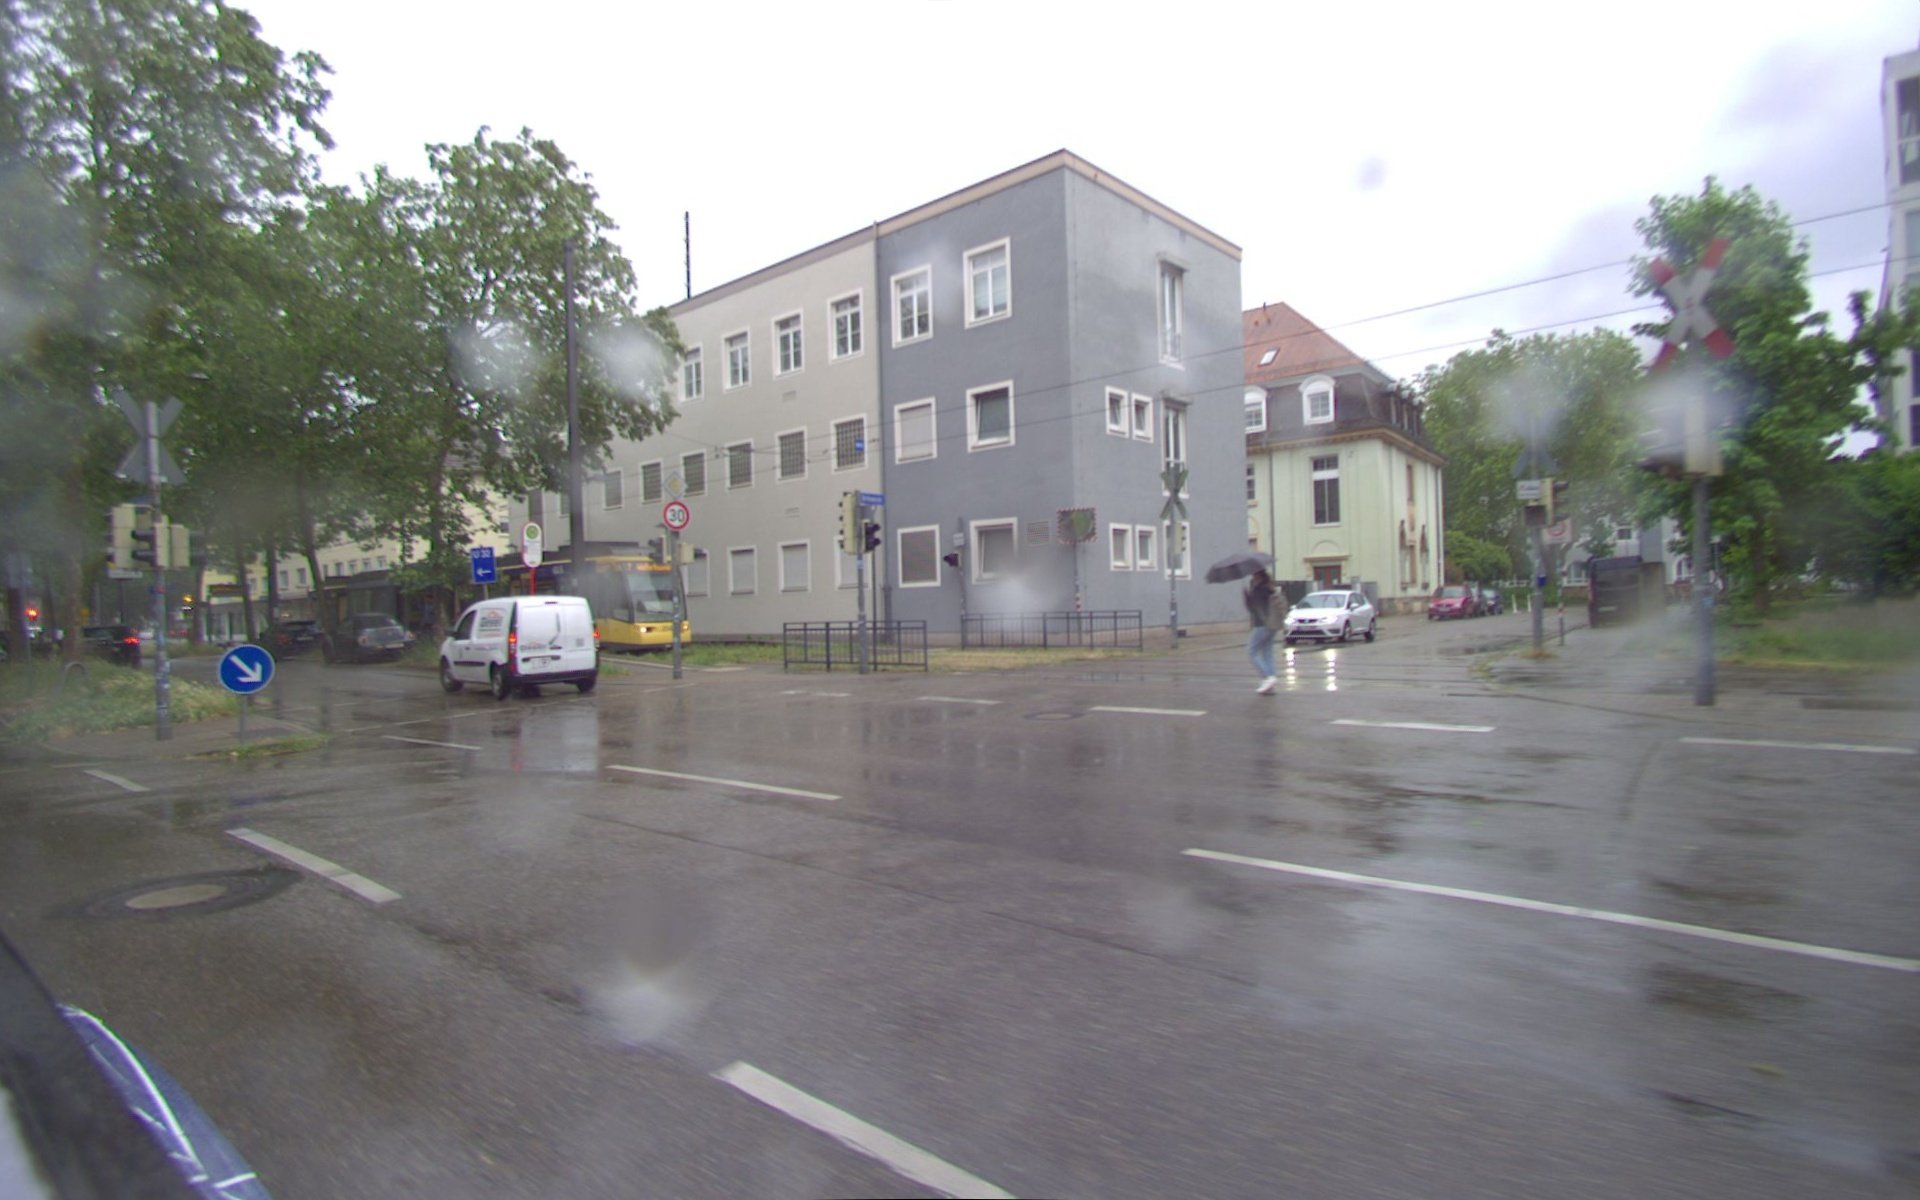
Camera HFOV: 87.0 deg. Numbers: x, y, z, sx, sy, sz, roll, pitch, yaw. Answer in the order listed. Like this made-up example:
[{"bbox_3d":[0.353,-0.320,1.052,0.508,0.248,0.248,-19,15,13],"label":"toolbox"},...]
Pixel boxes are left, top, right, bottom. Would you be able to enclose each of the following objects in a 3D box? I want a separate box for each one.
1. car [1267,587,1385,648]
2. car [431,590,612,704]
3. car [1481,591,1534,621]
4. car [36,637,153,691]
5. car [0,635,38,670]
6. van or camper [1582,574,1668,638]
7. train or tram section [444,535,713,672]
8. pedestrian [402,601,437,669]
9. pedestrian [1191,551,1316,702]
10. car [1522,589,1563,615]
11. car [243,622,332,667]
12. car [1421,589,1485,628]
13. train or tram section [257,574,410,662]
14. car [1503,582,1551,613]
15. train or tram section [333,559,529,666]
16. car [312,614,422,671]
[{"bbox_3d":[10.312,0.465,28.339,1.886,1.539,4.038,-3,-1,38],"label":"car"},{"bbox_3d":[-8.355,0.854,19.077,1.909,1.863,4.071,-2,-1,-42],"label":"car"},{"bbox_3d":[29.660,0.306,54.817,1.863,1.513,3.949,-2,-1,38],"label":"car"},{"bbox_3d":[-29.399,2.147,34.334,4.666,1.631,2.037,-3,-1,37],"label":"car"},{"bbox_3d":[-49.031,2.713,52.299,3.647,1.675,1.655,-3,-1,41],"label":"car"},{"bbox_3d":[22.879,0.175,34.760,1.998,2.029,3.948,-2,0,39],"label":"van or camper"},{"bbox_3d":[-12.442,0.212,32.013,11.548,3.669,2.869,-2,0,42],"label":"train or tram section"},{"bbox_3d":[-15.255,0.979,28.554,0.635,1.869,0.654,-3,-1,42],"label":"pedestrian"},{"bbox_3d":[3.729,0.326,12.871,1.205,1.813,0.926,-2,-1,41],"label":"pedestrian"},{"bbox_3d":[37.489,0.128,65.092,1.675,1.549,3.949,-2,-1,38],"label":"car"},{"bbox_3d":[-24.310,1.621,36.545,3.703,1.395,1.655,-3,2,41],"label":"car"},{"bbox_3d":[23.855,0.393,48.918,1.997,1.763,3.950,-2,-1,37],"label":"car"},{"bbox_3d":[-29.581,0.877,47.456,11.548,3.669,2.869,-2,0,42],"label":"train or tram section"},{"bbox_3d":[33.894,-0.150,60.491,1.890,1.795,3.949,-2,-1,38],"label":"car"},{"bbox_3d":[-21.036,0.546,39.750,11.548,3.669,2.869,-2,0,42],"label":"train or tram section"},{"bbox_3d":[-18.328,1.311,31.223,3.972,1.520,1.655,-3,2,41],"label":"car"}]
